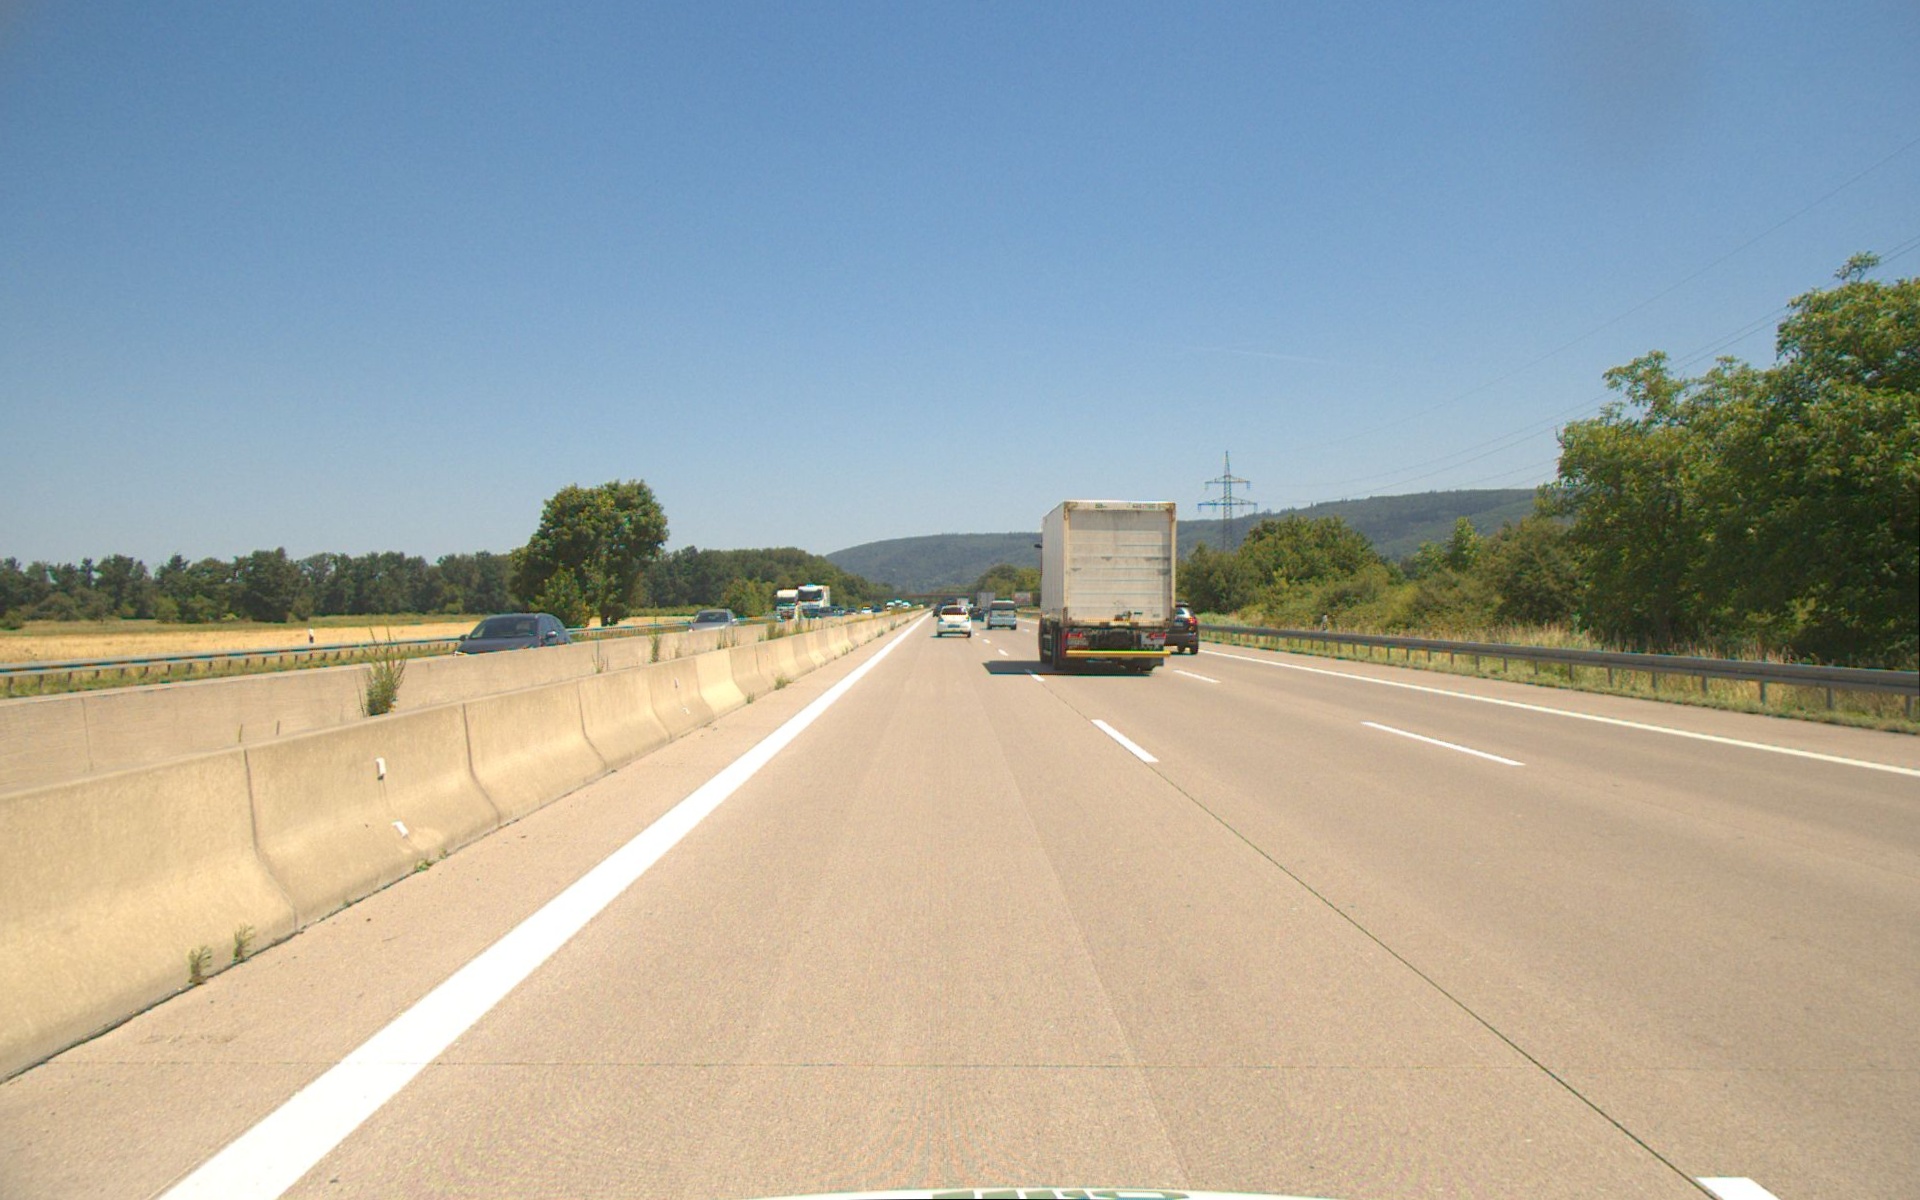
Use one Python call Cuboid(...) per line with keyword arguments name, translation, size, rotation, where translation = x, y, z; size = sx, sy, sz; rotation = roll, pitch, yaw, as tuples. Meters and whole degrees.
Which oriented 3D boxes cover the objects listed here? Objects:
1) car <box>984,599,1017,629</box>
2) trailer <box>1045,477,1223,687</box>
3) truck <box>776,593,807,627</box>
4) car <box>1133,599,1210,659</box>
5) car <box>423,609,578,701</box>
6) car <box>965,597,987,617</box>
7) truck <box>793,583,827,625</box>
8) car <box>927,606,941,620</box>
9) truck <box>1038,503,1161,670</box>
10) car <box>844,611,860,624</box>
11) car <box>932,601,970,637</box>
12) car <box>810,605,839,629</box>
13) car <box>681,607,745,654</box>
Cuboid(name="car", translation=(2.679, 0.924, 110.539), size=(1.953, 1.881, 3.999), rotation=(1, 0, -1))
Cuboid(name="trailer", translation=(3.565, -0.326, 36.550), size=(2.529, 3.945, 10.369), rotation=(1, 0, -2))
Cuboid(name="truck", translation=(-18.907, 1.115, 185.483), size=(2.746, 3.752, 7.235), rotation=(1, 0, -1))
Cuboid(name="car", translation=(7.126, 0.963, 56.067), size=(1.953, 1.881, 3.999), rotation=(3, 0, -1))
Cuboid(name="car", translation=(-9.097, 1.037, 33.169), size=(1.866, 1.680, 4.931), rotation=(1, 0, -2))
Cuboid(name="car", translation=(1.606, 0.732, 169.647), size=(1.953, 1.881, 3.998), rotation=(3, 0, -2))
Cuboid(name="truck", translation=(-14.513, 0.392, 159.890), size=(2.842, 4.039, 5.044), rotation=(1, 0, -1))
Cuboid(name="car", translation=(-3.614, 1.812, 229.962), size=(1.890, 1.825, 3.999), rotation=(1, 0, -1))
Cuboid(name="truck", translation=(3.446, -0.307, 41.933), size=(2.529, 3.945, 4.982), rotation=(1, 0, -2))
Cuboid(name="car", translation=(-15.707, 2.506, 240.863), size=(1.953, 1.747, 5.024), rotation=(1, 0, 0))
Cuboid(name="car", translation=(-0.478, 0.918, 81.511), size=(1.783, 1.691, 3.999), rotation=(0, 0, -2))
Cuboid(name="car", translation=(-10.164, 1.281, 124.182), size=(1.825, 1.759, 4.140), rotation=(1, 0, 0))
Cuboid(name="car", translation=(-9.624, 1.160, 64.785), size=(1.844, 1.724, 4.681), rotation=(1, 0, -1))
